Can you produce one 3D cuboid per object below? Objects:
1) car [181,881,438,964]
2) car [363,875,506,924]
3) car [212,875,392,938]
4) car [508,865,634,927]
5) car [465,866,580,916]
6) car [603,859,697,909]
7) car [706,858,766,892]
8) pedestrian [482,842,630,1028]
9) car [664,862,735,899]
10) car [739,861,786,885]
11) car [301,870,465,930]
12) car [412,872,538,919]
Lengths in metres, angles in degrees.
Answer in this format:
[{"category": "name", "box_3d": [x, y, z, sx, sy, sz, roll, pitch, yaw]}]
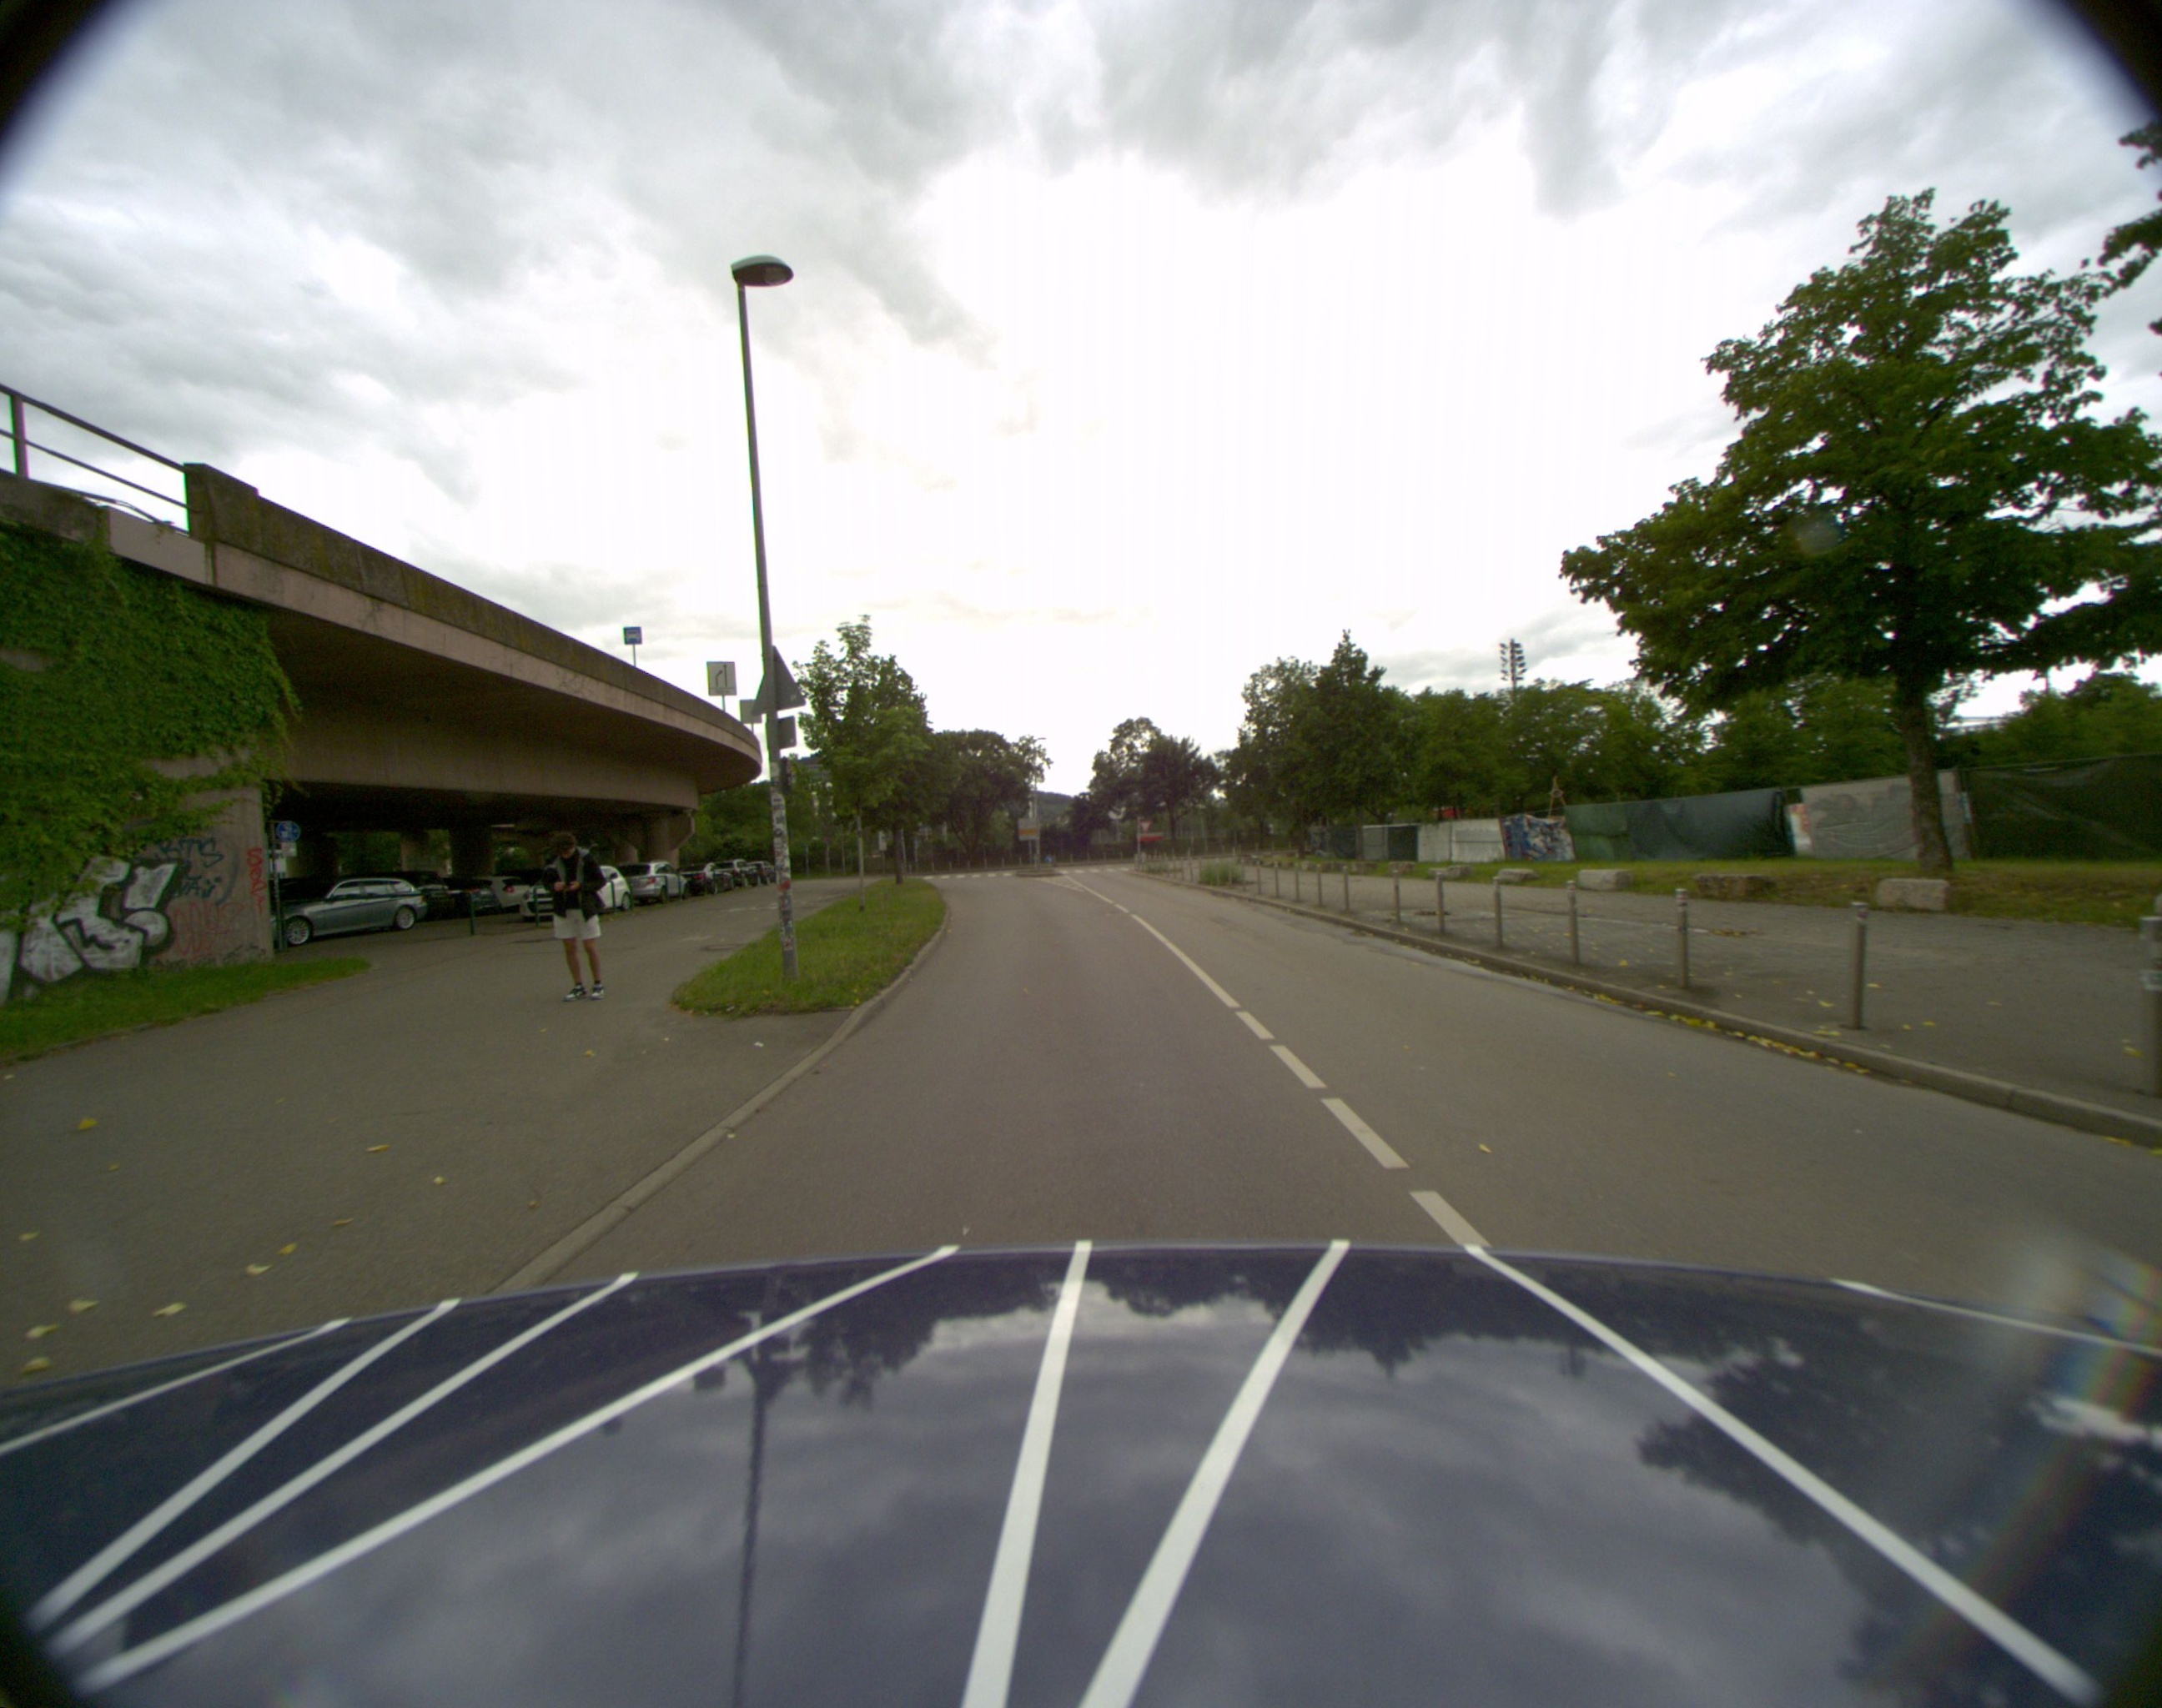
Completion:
[{"category": "car", "box_3d": [-17.682, 1.484, 17.803, 1.642, 1.378, 4.472, -2, 1, -5]}, {"category": "car", "box_3d": [-21.635, 1.503, 25.536, 3.319, 1.390, 1.552, -3, 0, -4]}, {"category": "car", "box_3d": [-21.405, 1.415, 20.959, 3.318, 1.502, 1.460, -3, -1, -3]}, {"category": "car", "box_3d": [-14.400, 1.128, 21.677, 1.611, 1.437, 3.472, -3, 1, -9]}, {"category": "car", "box_3d": [-22.179, 1.455, 30.242, 3.319, 1.677, 1.435, -4, 1, -5]}, {"category": "car", "box_3d": [-15.216, 0.986, 27.077, 1.616, 1.521, 3.914, -4, 1, -11]}, {"category": "car", "box_3d": [-17.066, 0.992, 37.739, 1.628, 1.366, 4.172, -8, 1, -11]}, {"category": "pedestrian", "box_3d": [-5.636, 0.812, 8.249, 0.822, 1.869, 1.180, -1, 1, -5]}, {"category": "car", "box_3d": [-16.225, 1.083, 32.505, 1.628, 1.308, 3.773, -5, 1, -11]}, {"category": "car", "box_3d": [-18.035, 1.059, 43.242, 1.628, 1.231, 4.055, -3, 0, -11]}, {"category": "car", "box_3d": [-21.348, 1.376, 23.345, 3.319, 1.588, 1.667, -3, 0, -4]}, {"category": "car", "box_3d": [-22.101, 1.489, 27.794, 3.319, 1.401, 1.351, -4, 1, -5]}]
